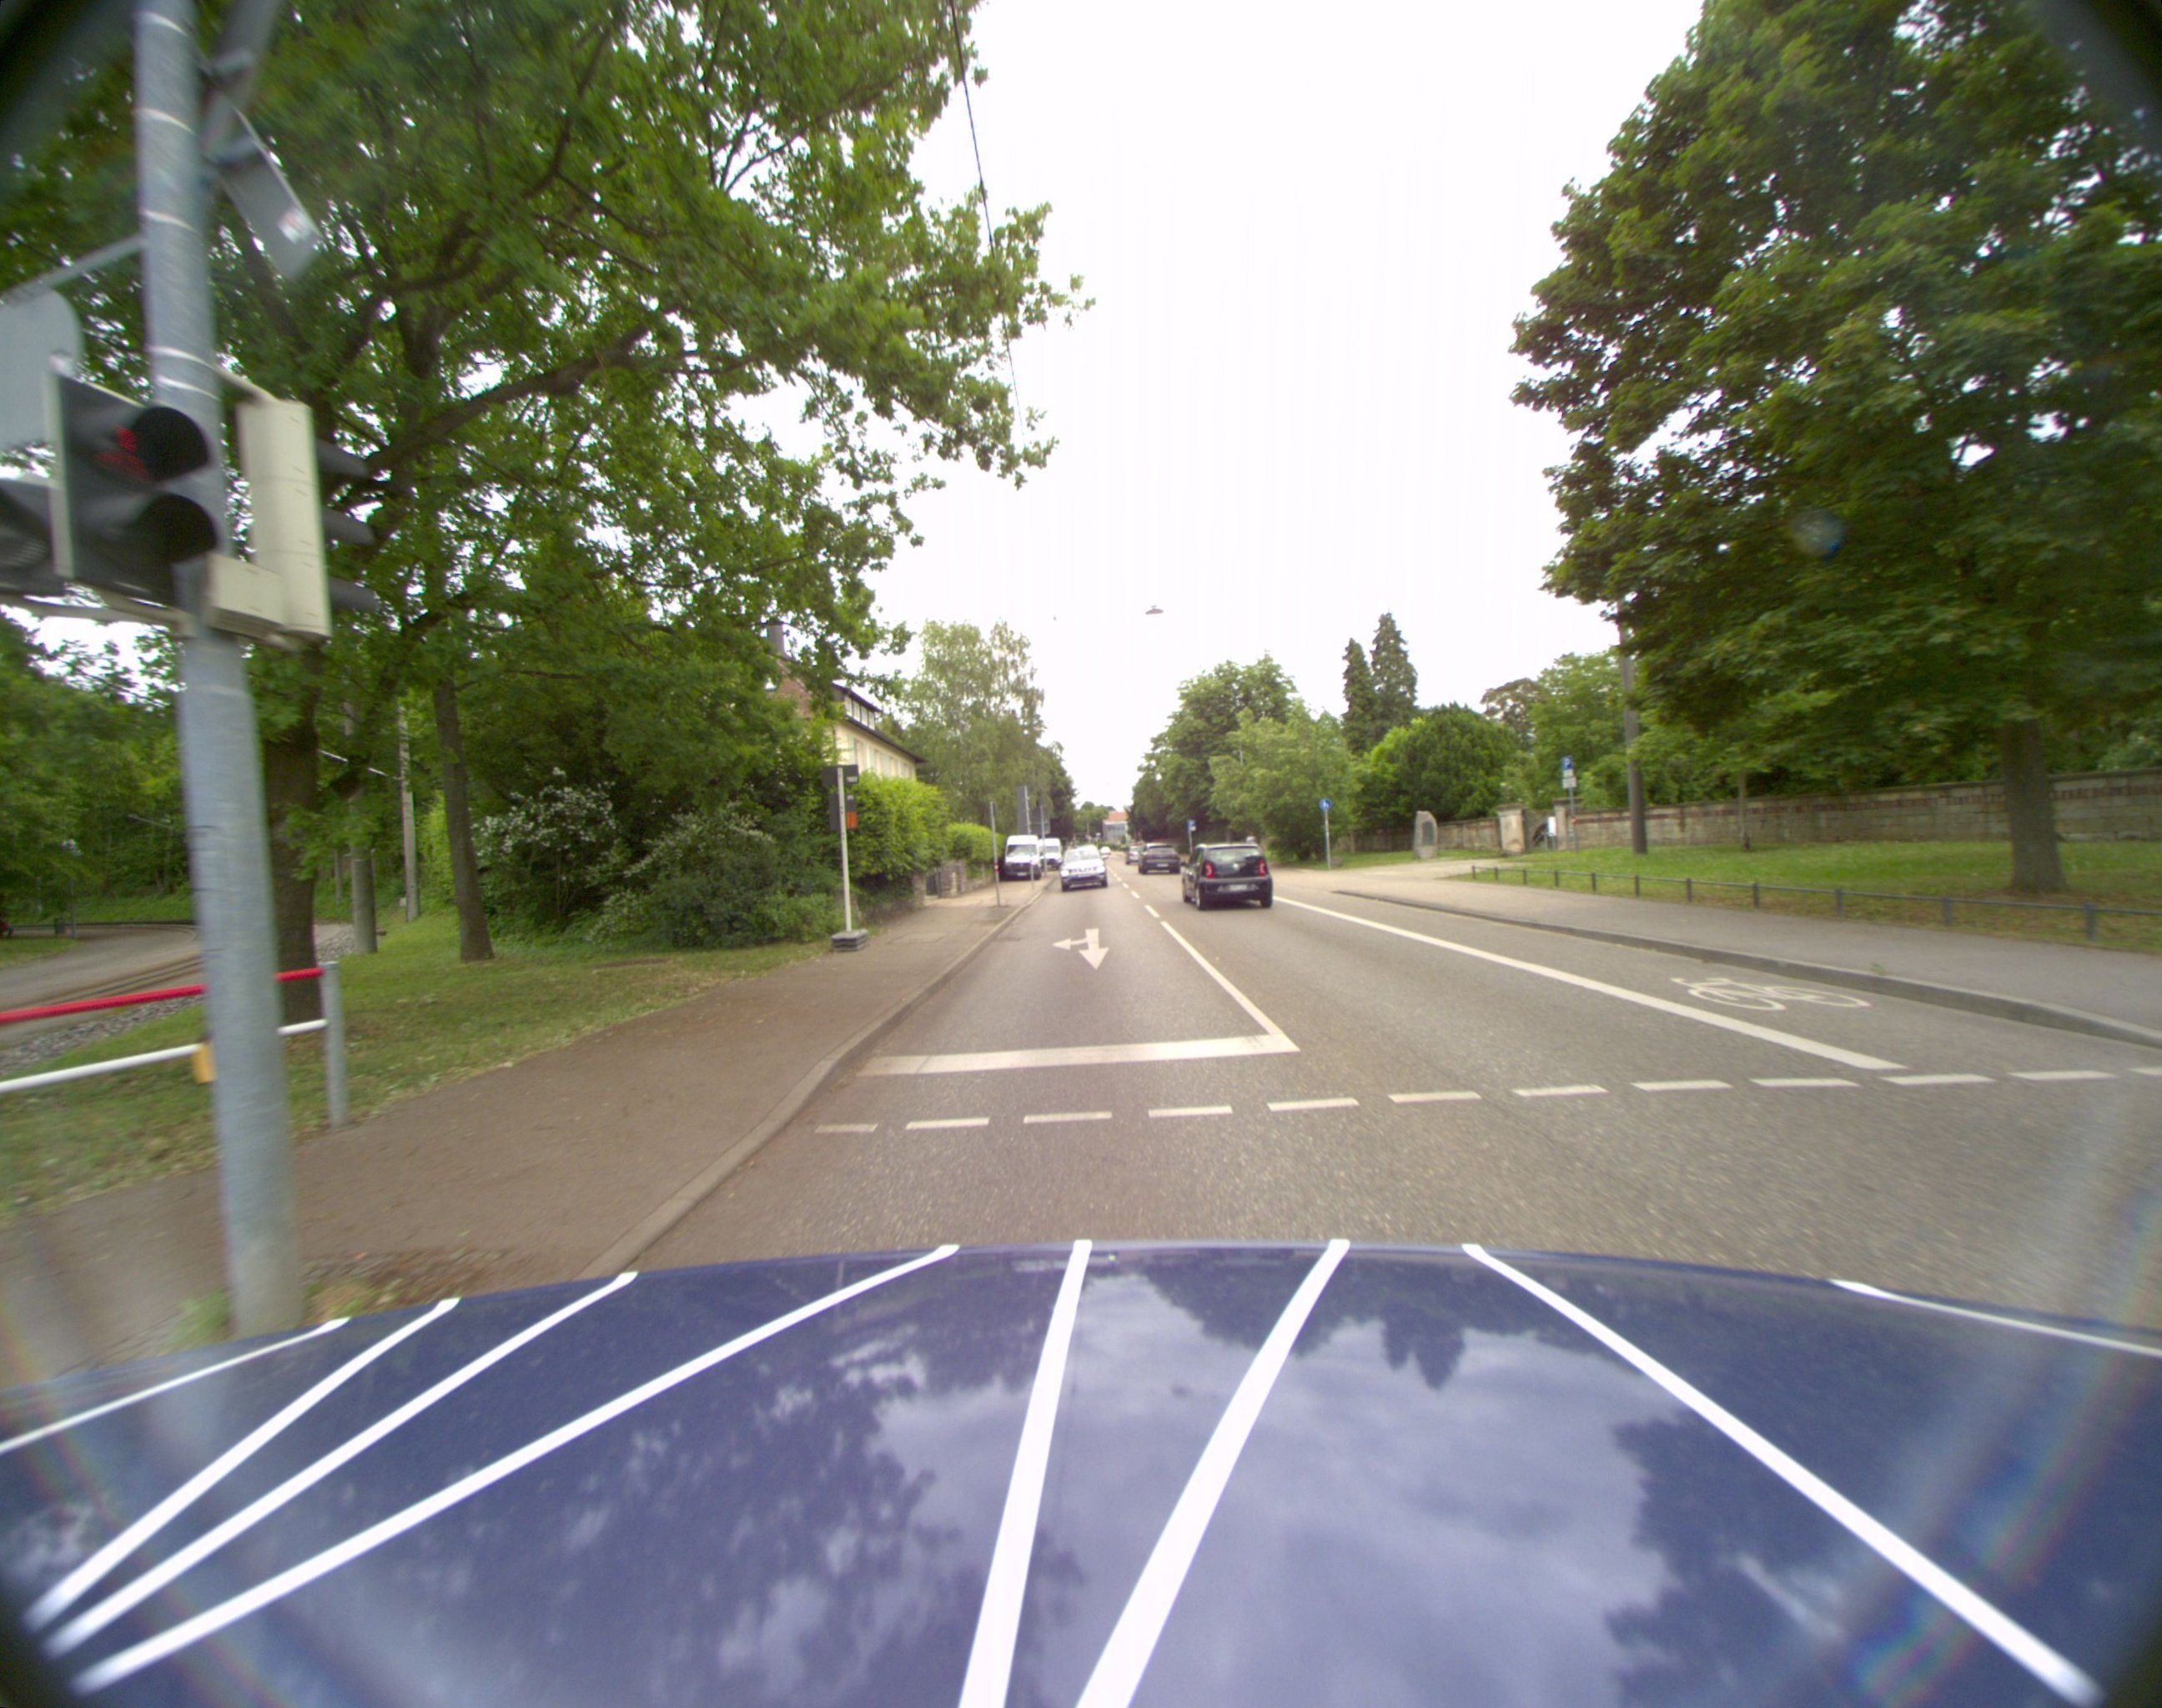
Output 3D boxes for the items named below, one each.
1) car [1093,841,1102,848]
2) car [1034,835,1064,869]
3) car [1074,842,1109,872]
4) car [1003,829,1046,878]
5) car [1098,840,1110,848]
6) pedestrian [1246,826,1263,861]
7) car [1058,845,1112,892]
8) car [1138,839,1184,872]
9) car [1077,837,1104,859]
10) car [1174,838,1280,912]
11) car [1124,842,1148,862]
[{"bbox_3d":[3.701,-2.223,169.882,1.913,1.484,3.998,-1,1,-2],"label":"car"},{"bbox_3d":[-2.592,-0.220,62.798,2.046,2.588,5.965,-3,1,1],"label":"car"},{"bbox_3d":[0.617,0.142,48.619,1.835,1.610,4.486,-6,1,-3],"label":"car"},{"bbox_3d":[-3.261,-0.051,45.239,2.095,2.590,6.679,-3,1,-2],"label":"car"},{"bbox_3d":[4.336,-1.889,143.204,1.913,1.484,3.998,-1,1,-2],"label":"car"},{"bbox_3d":[9.164,-0.535,40.230,0.615,1.801,0.785,-3,1,0],"label":"pedestrian"},{"bbox_3d":[0.099,0.517,31.046,1.835,1.610,4.486,-6,1,-3],"label":"car"},{"bbox_3d":[4.072,0.036,39.238,1.944,1.522,4.525,-2,1,1],"label":"car"},{"bbox_3d":[0.771,-0.508,63.263,1.835,1.610,4.486,-6,1,-3],"label":"car"},{"bbox_3d":[3.297,0.405,17.835,1.668,1.440,3.826,-4,1,0],"label":"car"},{"bbox_3d":[4.445,-0.186,61.558,1.729,1.454,4.153,-3,1,2],"label":"car"}]
